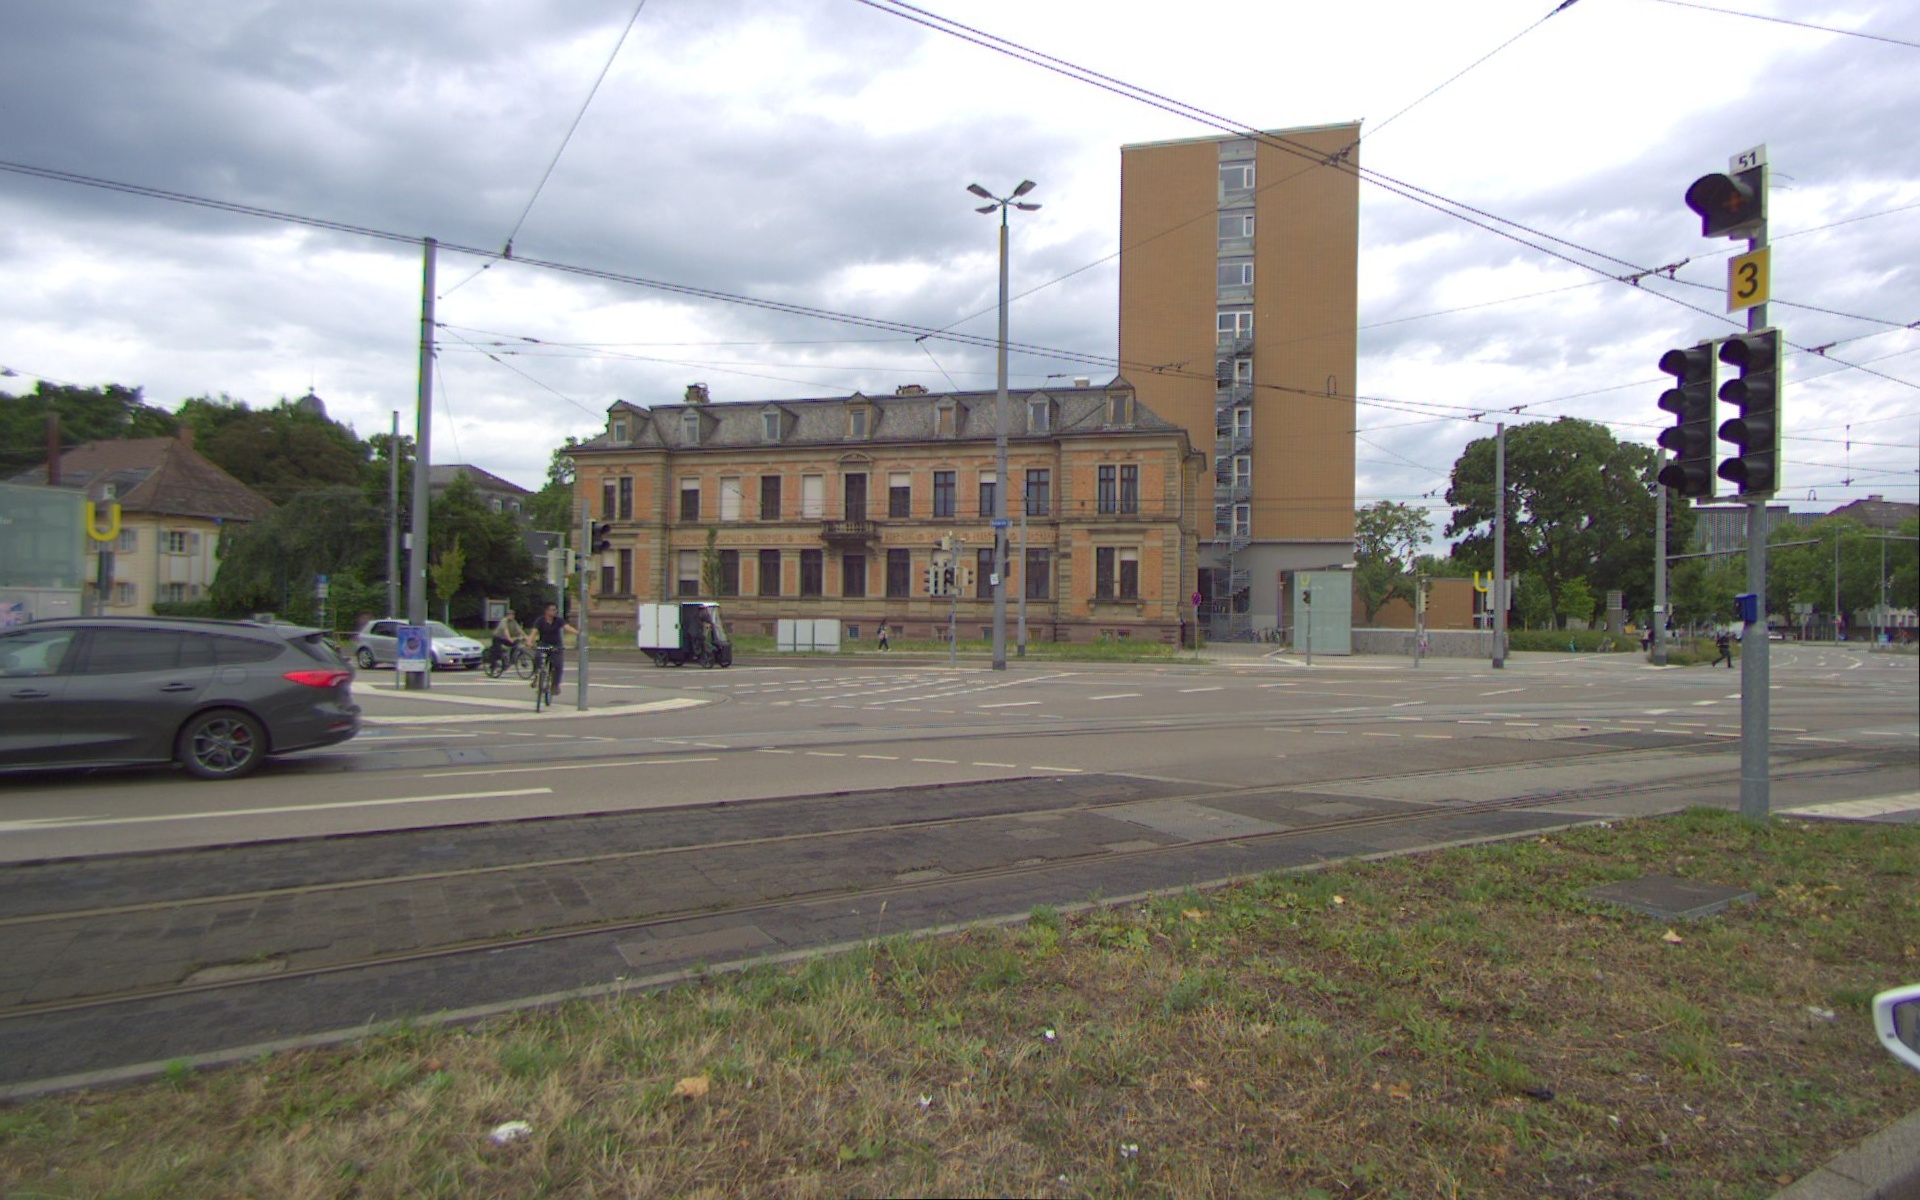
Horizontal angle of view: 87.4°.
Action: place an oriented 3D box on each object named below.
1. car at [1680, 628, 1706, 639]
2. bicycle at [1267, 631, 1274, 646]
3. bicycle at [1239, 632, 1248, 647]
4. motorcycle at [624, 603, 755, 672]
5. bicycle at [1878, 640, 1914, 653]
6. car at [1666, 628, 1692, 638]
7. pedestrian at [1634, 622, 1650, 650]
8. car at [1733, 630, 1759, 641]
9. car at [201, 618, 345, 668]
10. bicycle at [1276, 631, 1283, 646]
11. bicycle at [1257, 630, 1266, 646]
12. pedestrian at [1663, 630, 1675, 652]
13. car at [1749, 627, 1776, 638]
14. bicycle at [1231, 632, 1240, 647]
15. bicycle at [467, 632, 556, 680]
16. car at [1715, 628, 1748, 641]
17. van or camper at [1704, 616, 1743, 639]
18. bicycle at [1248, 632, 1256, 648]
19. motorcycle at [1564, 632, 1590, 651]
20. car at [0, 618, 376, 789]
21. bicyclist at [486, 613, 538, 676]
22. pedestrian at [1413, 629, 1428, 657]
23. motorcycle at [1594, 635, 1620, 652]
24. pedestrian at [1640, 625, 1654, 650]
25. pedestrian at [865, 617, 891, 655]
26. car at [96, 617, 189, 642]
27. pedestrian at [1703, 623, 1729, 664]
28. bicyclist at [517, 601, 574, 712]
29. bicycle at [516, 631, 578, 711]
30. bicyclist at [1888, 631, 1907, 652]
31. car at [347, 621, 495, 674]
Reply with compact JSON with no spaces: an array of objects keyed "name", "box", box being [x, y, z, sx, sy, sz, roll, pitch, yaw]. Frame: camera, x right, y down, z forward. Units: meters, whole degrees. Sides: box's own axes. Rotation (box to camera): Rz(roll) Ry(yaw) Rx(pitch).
[{"name":"car","box":[109.934,5.062,150.615,1.746,1.483,4.002,1,0,15]},{"name":"bicycle","box":[22.824,2.813,73.769,0.500,1.063,1.428,1,-1,18]},{"name":"bicycle","box":[20.994,2.911,74.305,0.561,1.120,1.428,1,-1,18]},{"name":"motorcycle","box":[-8.490,1.134,31.551,3.614,2.040,1.696,0,-1,19]},{"name":"bicycle","box":[91.566,4.521,98.271,2.676,1.194,0.942,1,-1,-1]},{"name":"car","box":[113.901,5.276,159.133,1.745,1.483,4.002,1,0,11]},{"name":"pedestrian","box":[50.316,2.647,74.111,0.781,2.007,0.880,1,-2,26]},{"name":"car","box":[113.710,5.185,145.360,1.747,1.483,3.999,1,0,21]},{"name":"car","box":[-22.044,1.354,32.234,4.061,1.468,1.697,1,-1,18]},{"name":"bicycle","box":[23.398,2.799,73.646,0.472,1.063,1.428,1,-1,18]},{"name":"bicycle","box":[22.200,2.805,73.968,0.561,1.120,1.428,1,-1,18]},{"name":"pedestrian","box":[66.594,3.818,94.359,0.868,2.007,0.792,0,-2,42]},{"name":"car","box":[109.163,4.405,136.631,1.747,1.483,3.999,1,0,22]},{"name":"bicycle","box":[20.430,2.908,74.478,0.561,1.120,1.428,1,-1,18]},{"name":"bicycle","box":[-11.868,1.466,26.603,2.154,1.224,0.857,0,-2,20]},{"name":"car","box":[94.924,4.259,123.606,1.746,1.483,4.002,1,-1,14]},{"name":"van or camper","box":[108.263,3.835,142.510,2.347,3.165,5.507,1,-1,12]},{"name":"bicycle","box":[21.556,2.928,74.135,0.561,1.120,1.428,1,-1,18]},{"name":"motorcycle","box":[41.583,2.804,67.714,1.443,1.285,0.512,1,-1,14]},{"name":"car","box":[-7.985,0.885,9.348,4.340,1.414,1.685,1,-1,-30]},{"name":"bicyclist","box":[-11.857,1.166,26.611,0.899,1.644,0.855,0,-1,20]},{"name":"pedestrian","box":[23.117,2.164,50.383,0.562,1.353,0.499,1,-1,10]},{"name":"motorcycle","box":[43.686,2.946,67.840,1.716,1.126,0.510,1,-1,-17]},{"name":"pedestrian","box":[56.096,3.086,82.040,0.781,2.007,0.880,1,-2,26]},{"name":"pedestrian","box":[-3.903,1.696,47.920,1.104,1.786,0.759,1,-1,8]},{"name":"car","box":[-45.033,1.600,55.361,3.919,1.305,1.936,1,-1,12]},{"name":"pedestrian","box":[38.263,2.190,50.824,1.009,2.040,0.842,0,-1,41]},{"name":"bicyclist","box":[-7.087,0.937,17.163,0.805,1.822,1.022,0,0,-28]},{"name":"bicycle","box":[-7.056,1.168,17.093,0.805,1.259,1.986,0,-2,-27]},{"name":"bicyclist","box":[91.676,4.040,98.230,0.959,2.040,0.940,1,-1,-1]},{"name":"car","box":[-16.246,1.382,30.264,4.081,1.473,1.761,0,-1,23]}]
